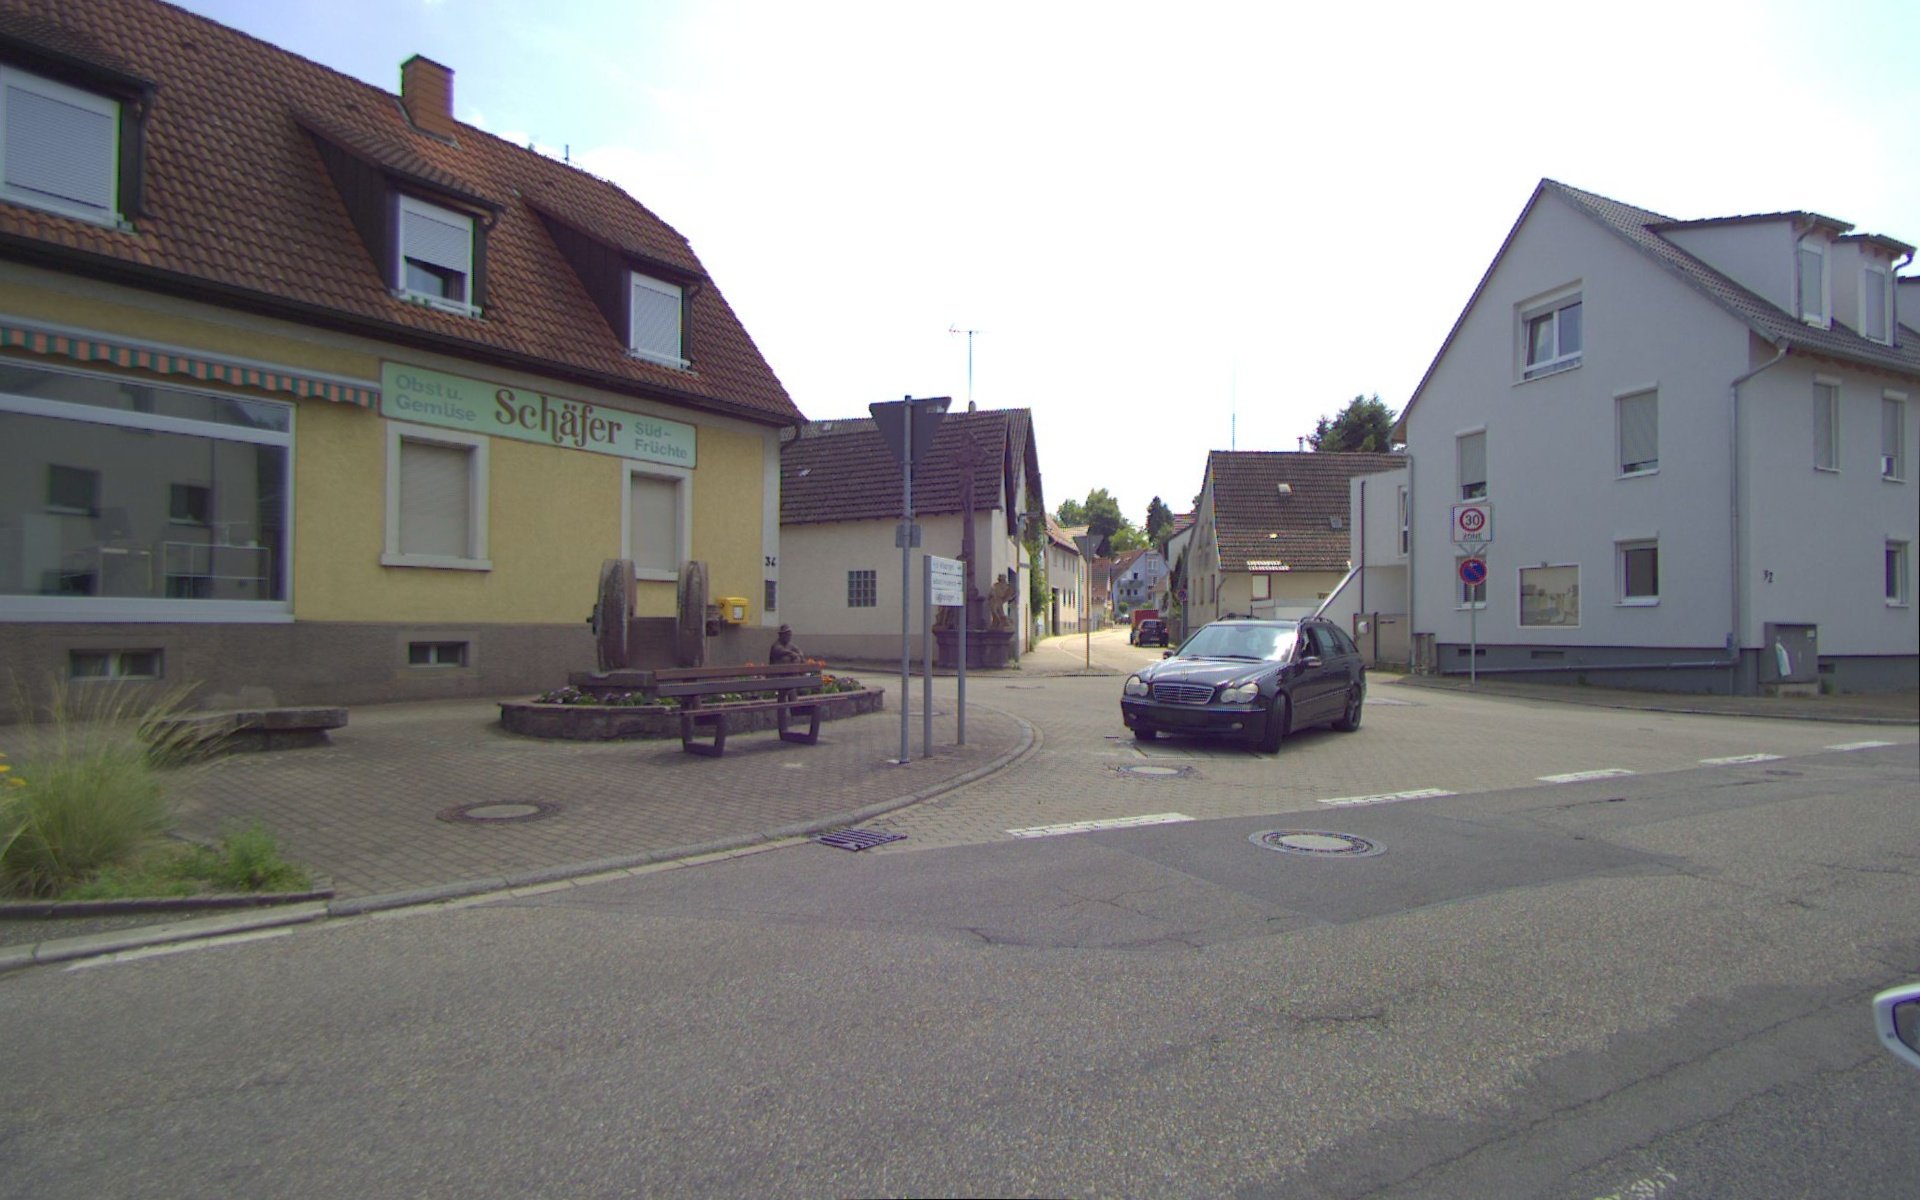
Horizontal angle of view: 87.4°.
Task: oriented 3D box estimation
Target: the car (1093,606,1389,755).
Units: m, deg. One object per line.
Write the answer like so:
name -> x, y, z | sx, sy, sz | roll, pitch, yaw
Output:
car -> 3.589, 0.891, 12.161 | 1.786, 1.430, 4.617 | 1, -2, 39

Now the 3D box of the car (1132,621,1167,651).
car -> 10.445, 1.984, 55.481 | 1.461, 1.550, 3.478 | 2, -2, 5

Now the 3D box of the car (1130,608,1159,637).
car -> 11.182, 1.394, 61.022 | 1.369, 1.656, 3.478 | 2, -2, 5
